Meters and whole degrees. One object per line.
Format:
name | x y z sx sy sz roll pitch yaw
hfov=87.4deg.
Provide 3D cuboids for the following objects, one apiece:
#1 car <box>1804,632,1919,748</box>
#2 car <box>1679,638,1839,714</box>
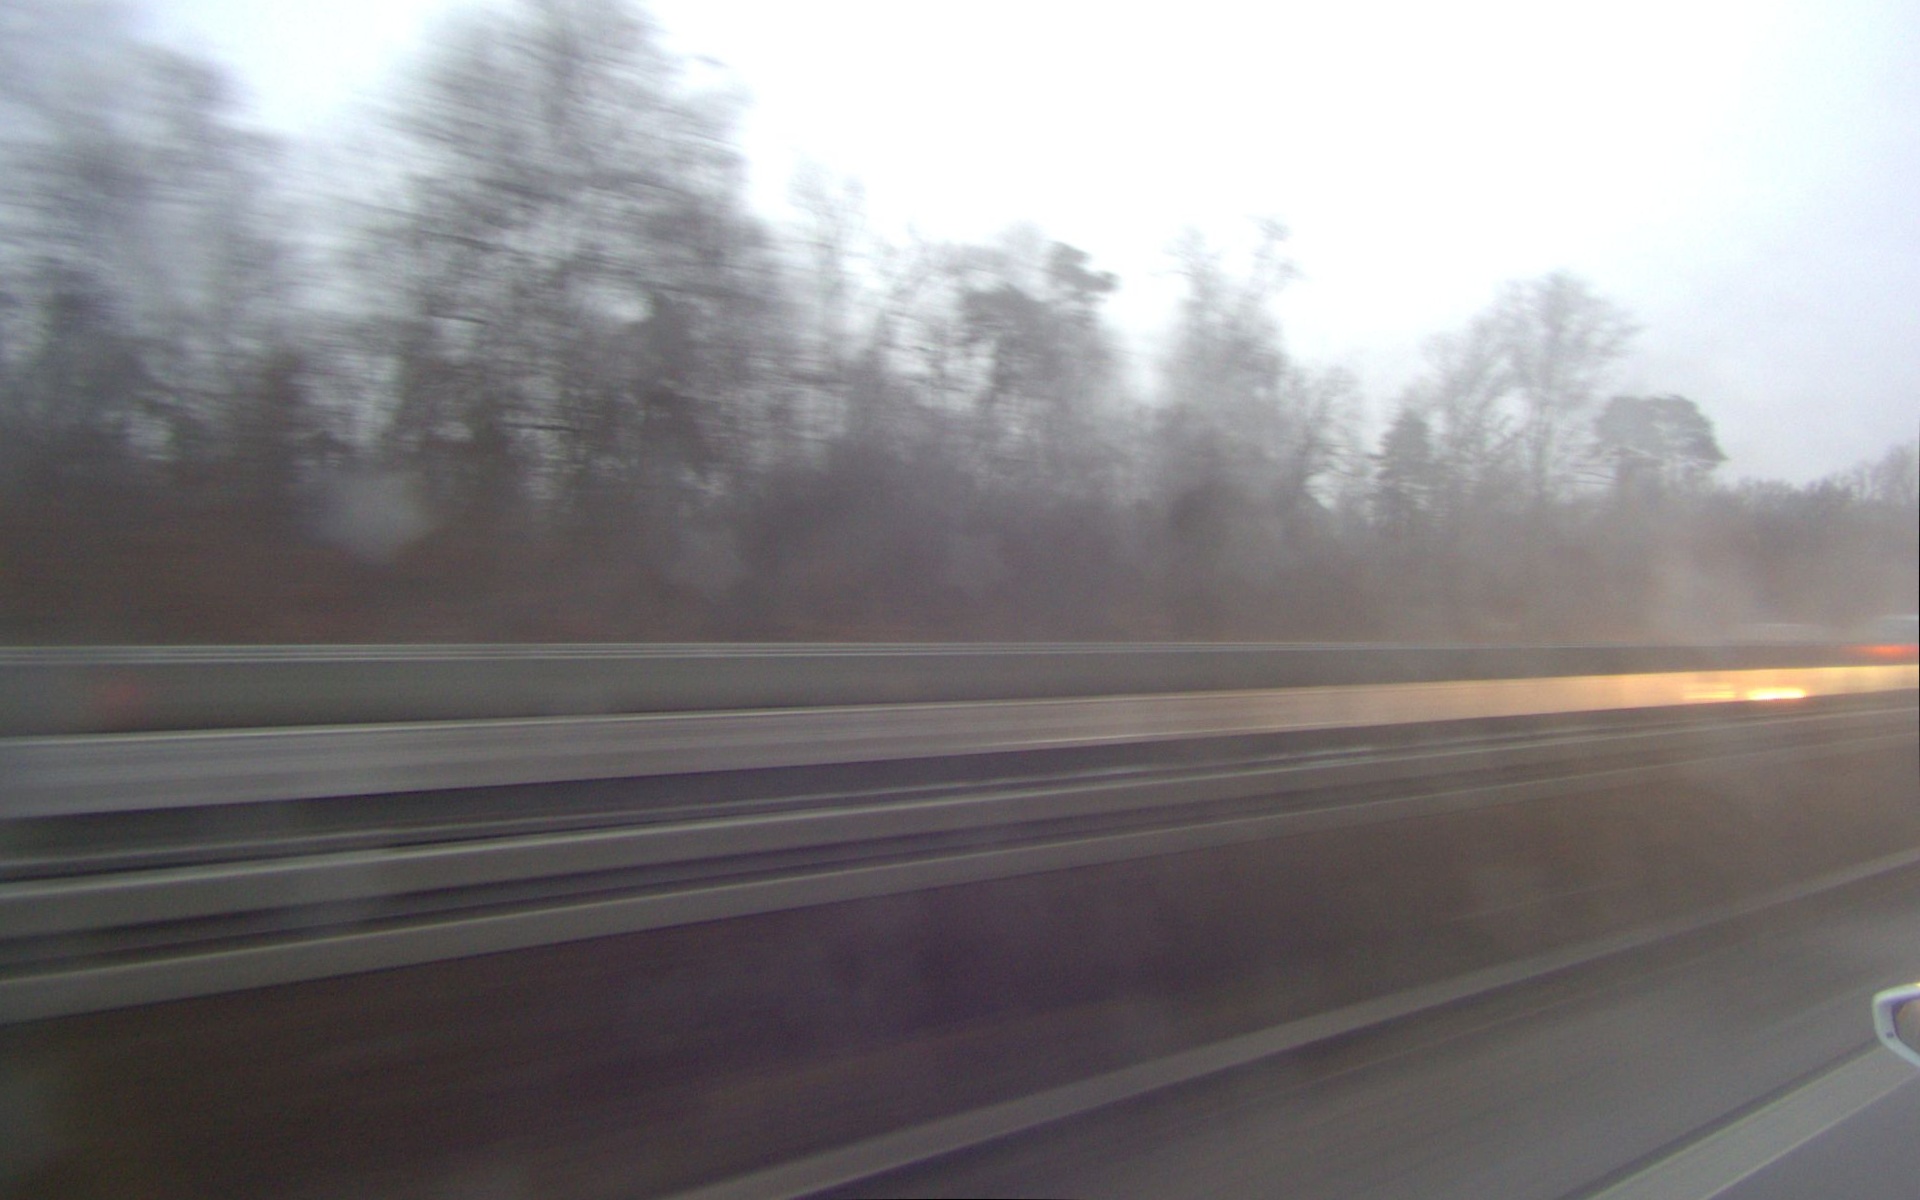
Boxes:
car | 18.380 1.710 19.437 3.953 1.929 1.815 3 1 -30
car | 20.527 1.936 25.785 3.953 1.693 1.815 3 1 -30
